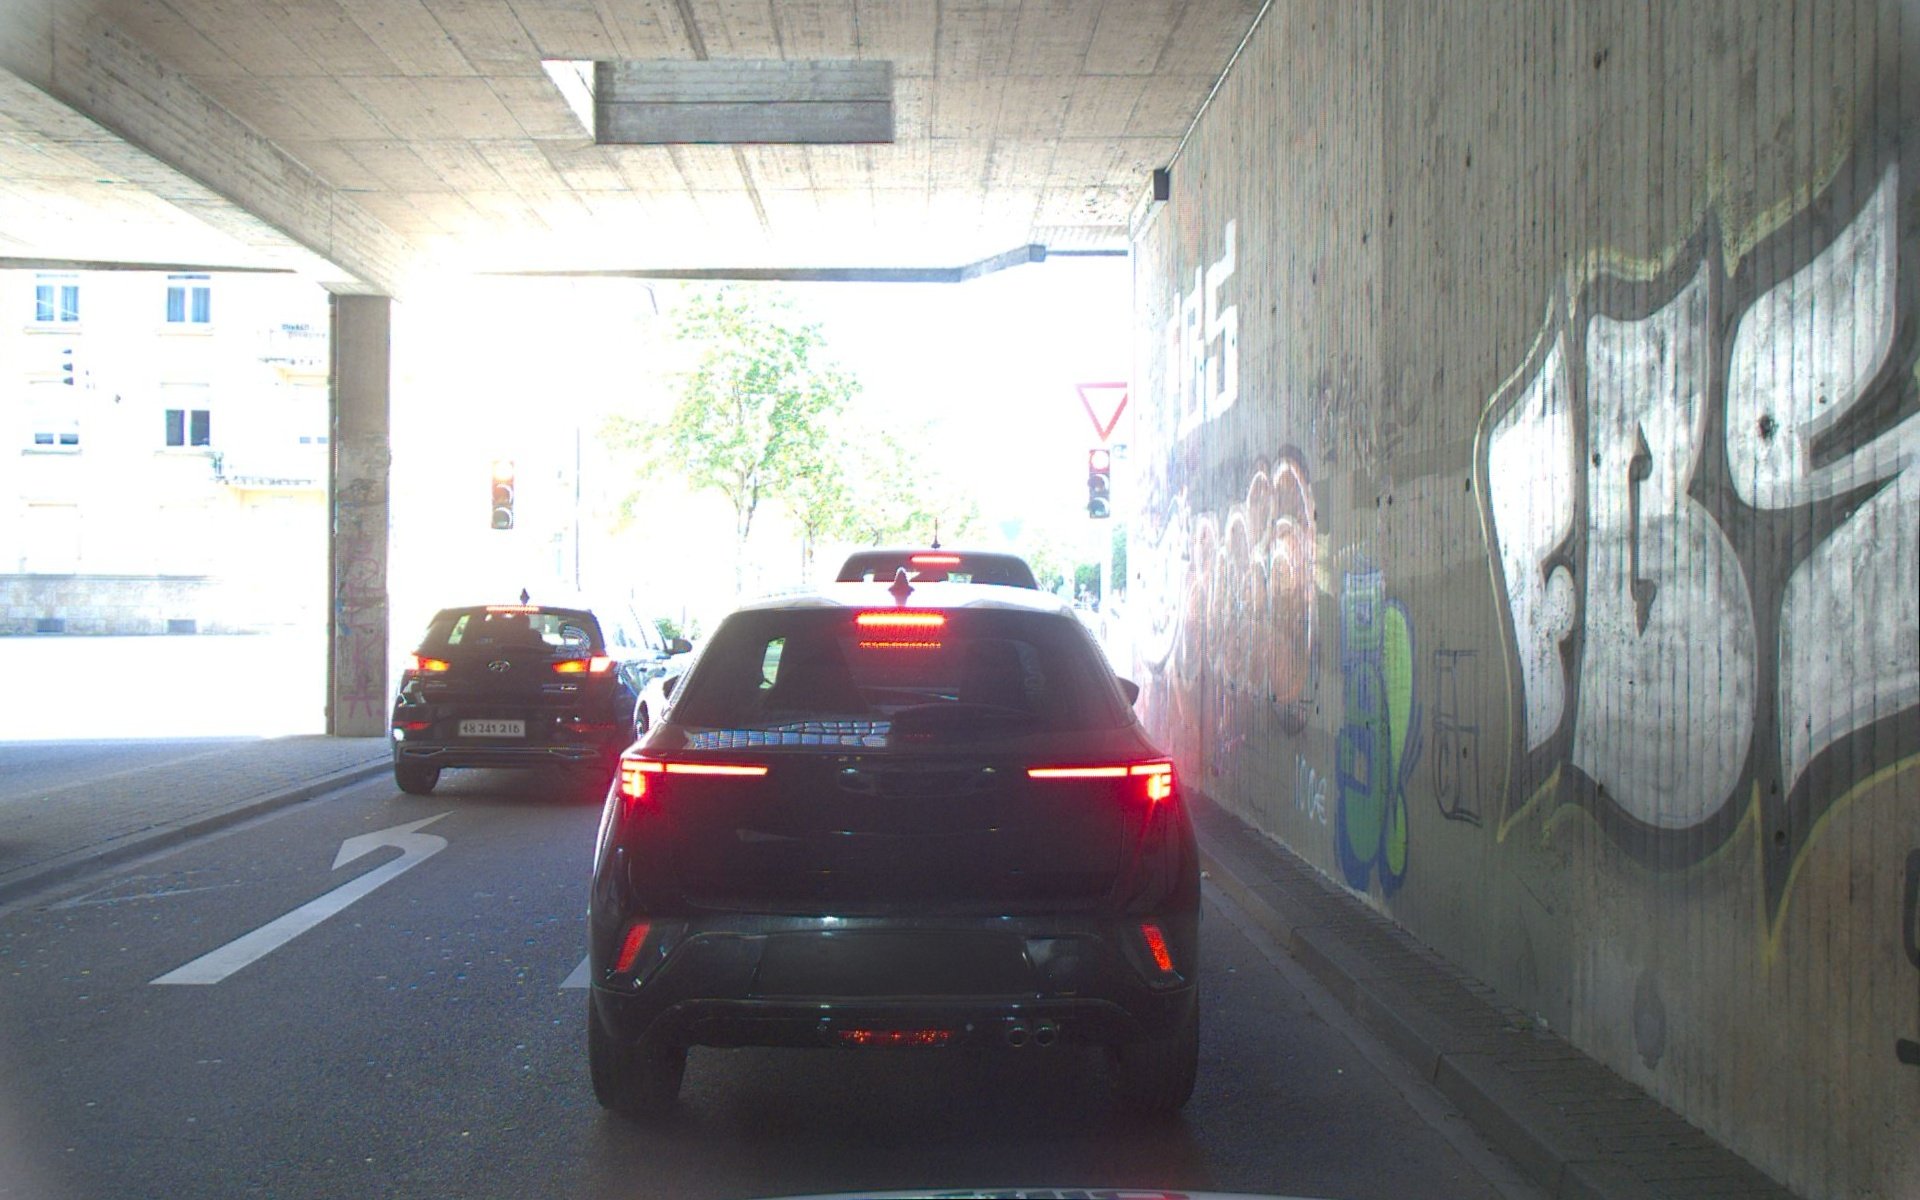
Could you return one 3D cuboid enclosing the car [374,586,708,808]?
[{"bbox_3d":[-3.150,0.655,13.203,1.726,1.506,3.843,0,0,-1],"label":"car"}]

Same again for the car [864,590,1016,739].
[{"bbox_3d":[-0.239,0.667,19.219,1.576,1.539,4.053,0,0,-1],"label":"car"}]

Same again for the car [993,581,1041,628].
[{"bbox_3d":[2.179,0.181,62.199,1.717,1.696,3.946,1,0,3],"label":"car"}]

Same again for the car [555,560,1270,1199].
[{"bbox_3d":[-0.139,0.682,6.060,1.726,1.558,4.088,0,0,-1],"label":"car"}]

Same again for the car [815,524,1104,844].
[{"bbox_3d":[-0.033,0.500,12.005,1.726,1.915,4.145,0,0,-1],"label":"car"}]

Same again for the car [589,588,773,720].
[{"bbox_3d":[-3.420,0.617,20.923,1.726,1.506,3.843,0,0,-1],"label":"car"}]

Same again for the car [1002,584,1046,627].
[{"bbox_3d":[2.668,0.216,68.325,1.717,1.696,3.946,1,0,3],"label":"car"}]
